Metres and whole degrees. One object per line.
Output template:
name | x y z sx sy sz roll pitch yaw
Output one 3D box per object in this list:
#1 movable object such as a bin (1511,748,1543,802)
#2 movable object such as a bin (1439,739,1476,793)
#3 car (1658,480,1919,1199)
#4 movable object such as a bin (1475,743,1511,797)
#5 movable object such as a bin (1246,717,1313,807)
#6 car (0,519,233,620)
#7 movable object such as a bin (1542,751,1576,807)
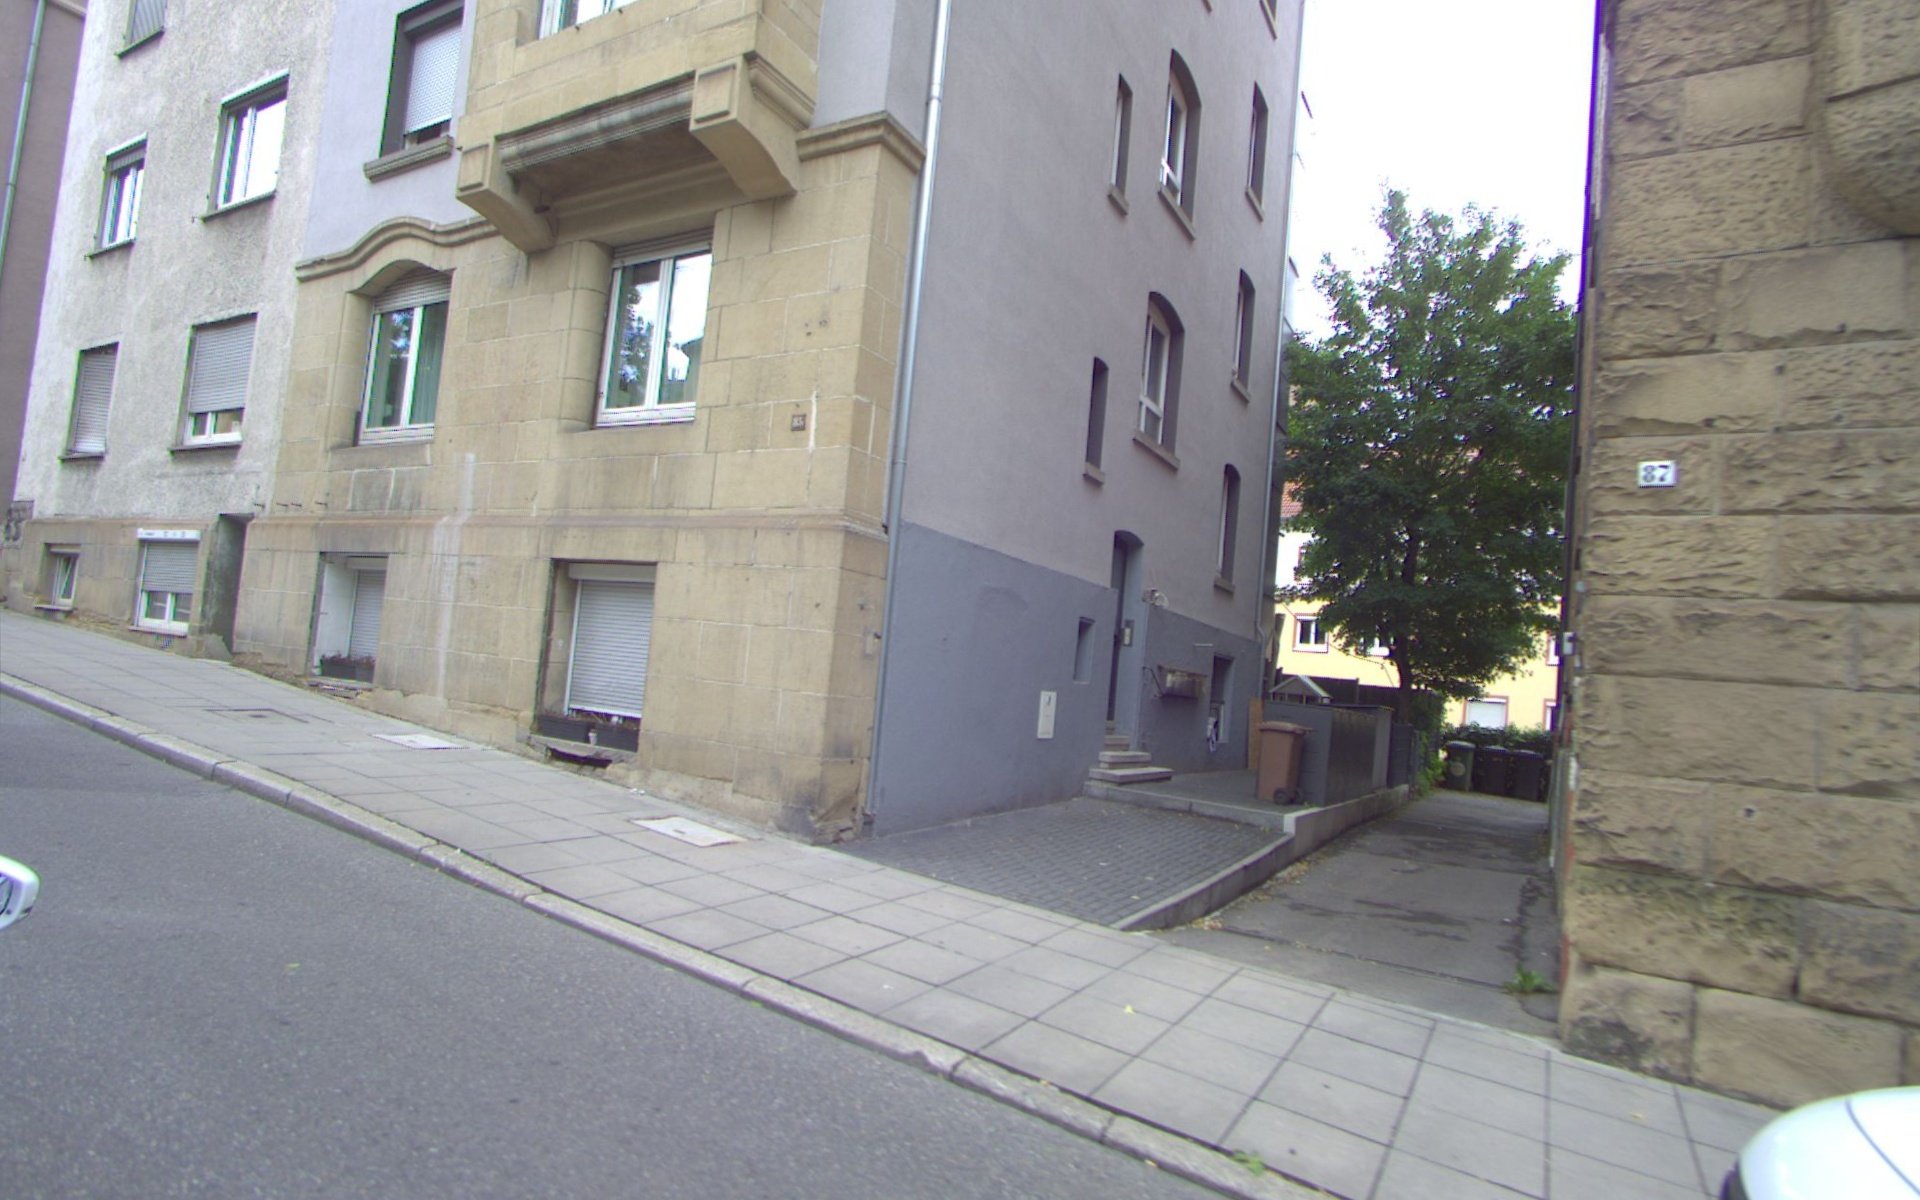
movable object such as a bin | 12.270 3.775 21.785 0.526 1.079 0.581 5 -3 30
movable object such as a bin | 10.984 3.656 22.210 0.618 1.079 0.581 5 -3 30
car | 3.300 1.059 0.354 4.943 1.844 1.853 4 -5 35
movable object such as a bin | 11.769 3.746 22.204 0.618 1.079 0.581 5 -3 30
movable object such as a bin | 3.714 1.875 11.699 0.541 0.943 0.537 4 -4 33
car | -17.637 -0.619 20.577 1.770 1.419 3.998 9 -2 31
movable object such as a bin | 12.824 3.823 21.550 0.526 1.079 0.581 5 -3 30
